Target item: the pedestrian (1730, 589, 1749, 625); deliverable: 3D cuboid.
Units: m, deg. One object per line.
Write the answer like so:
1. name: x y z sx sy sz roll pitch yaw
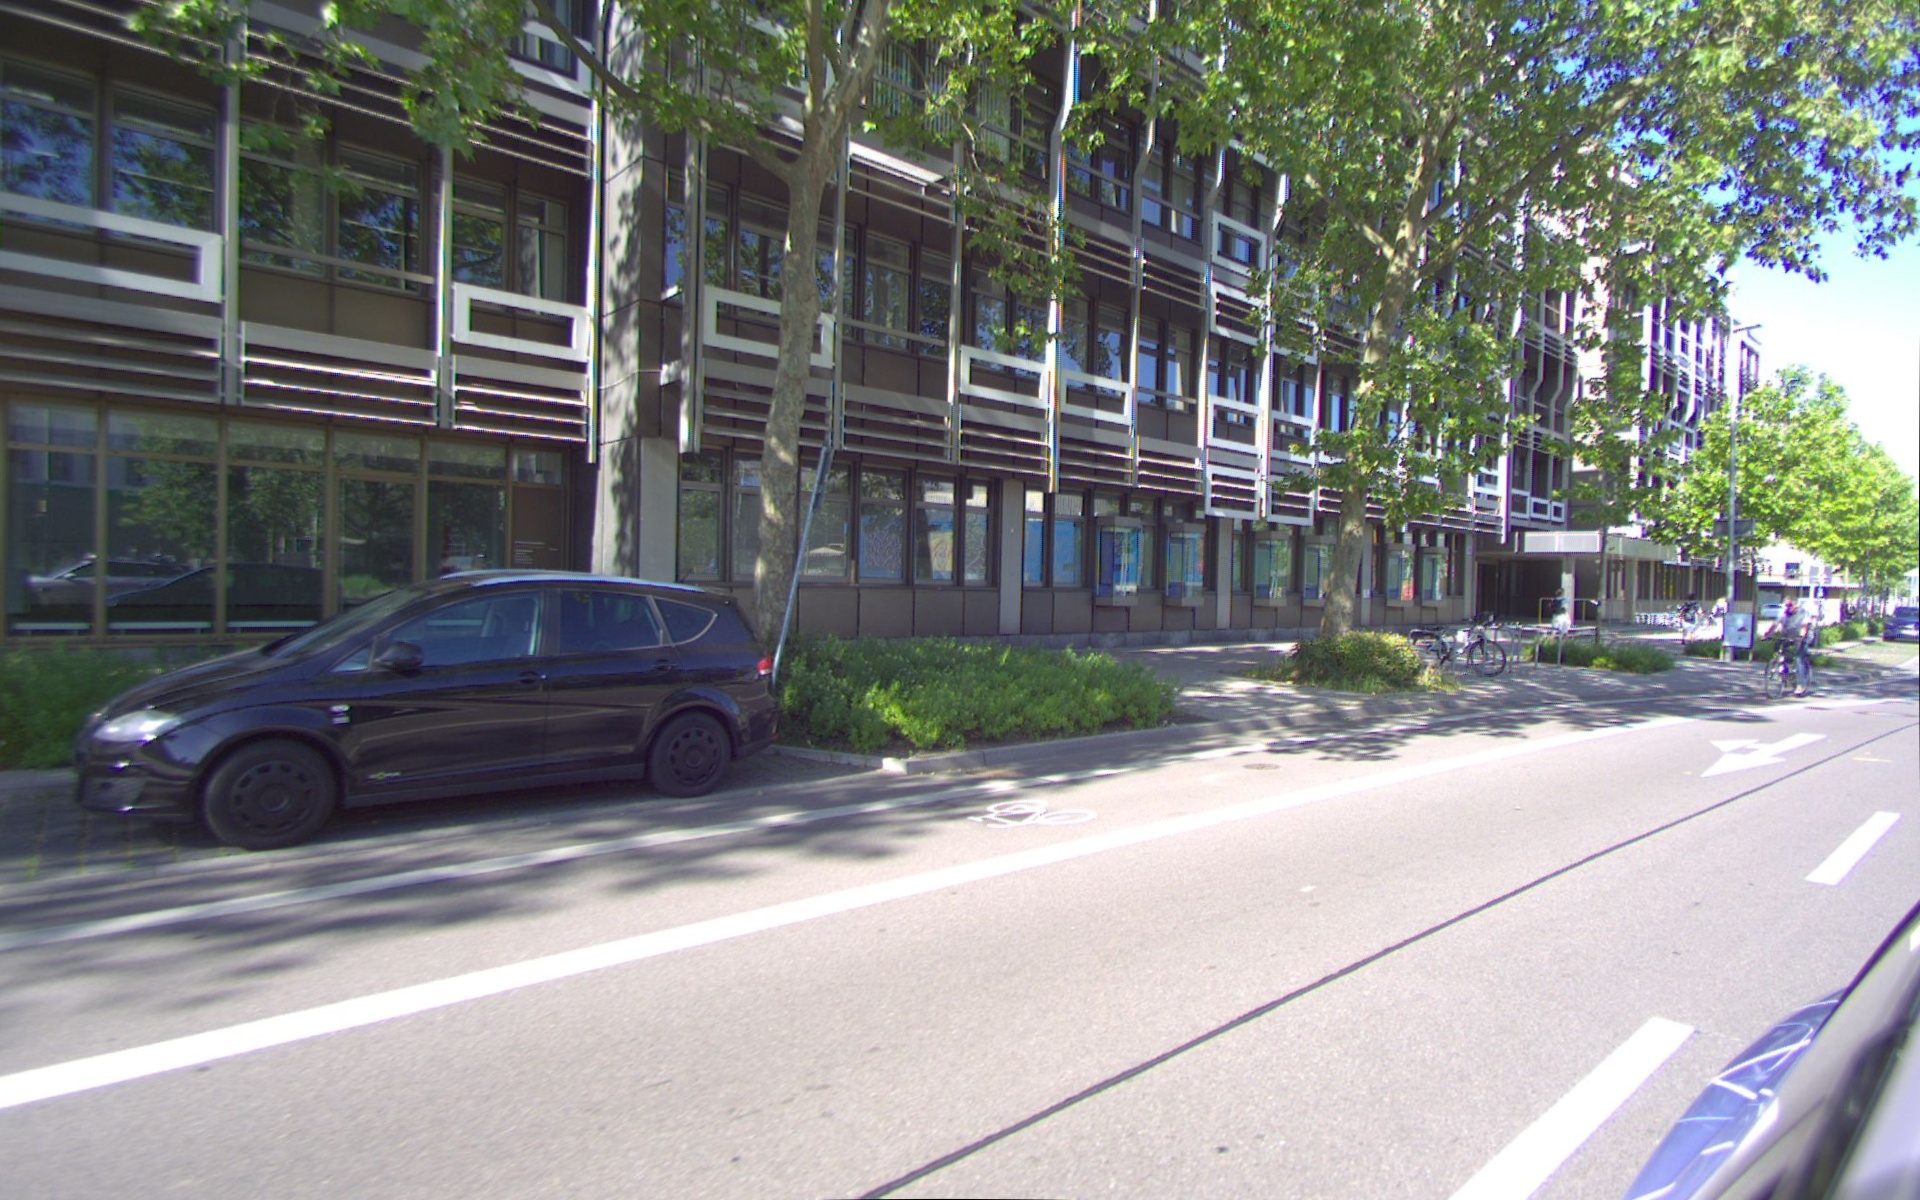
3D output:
1. pedestrian: 36.185 0.335 46.983 0.662 1.642 0.512 1 3 -41

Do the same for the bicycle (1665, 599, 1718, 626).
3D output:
1. bicycle: 33.592 0.568 46.506 0.419 1.111 1.863 1 3 -39

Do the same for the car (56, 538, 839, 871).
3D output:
1. car: -3.276 0.501 7.179 4.552 1.663 1.709 1 3 -39

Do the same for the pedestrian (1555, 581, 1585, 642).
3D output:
1. pedestrian: 17.561 0.328 29.122 0.760 1.722 0.511 1 0 -41

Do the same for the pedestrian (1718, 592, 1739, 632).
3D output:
1. pedestrian: 29.366 0.447 38.665 0.723 1.493 0.512 1 0 -41

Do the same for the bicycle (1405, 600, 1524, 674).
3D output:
1. bicycle: 9.709 0.680 19.551 0.569 1.252 1.940 1 2 -43

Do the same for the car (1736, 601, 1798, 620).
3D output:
1. car: 75.320 0.964 94.542 4.378 1.563 1.831 2 1 34

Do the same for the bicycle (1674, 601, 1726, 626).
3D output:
1. bicycle: 34.669 0.619 47.448 0.419 1.023 1.863 1 3 -39

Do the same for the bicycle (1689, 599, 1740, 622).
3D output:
1. bicycle: 35.863 0.478 48.110 0.419 0.950 1.863 1 3 -39

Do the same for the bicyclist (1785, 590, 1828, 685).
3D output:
1. bicyclist: 14.881 0.643 17.790 0.513 1.621 0.528 2 1 45

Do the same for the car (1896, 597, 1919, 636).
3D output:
1. car: 44.239 0.774 46.215 4.767 1.677 1.852 0 3 -44

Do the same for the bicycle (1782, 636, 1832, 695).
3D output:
1. bicycle: 14.860 1.114 17.730 0.498 0.917 2.161 -1 -1 44

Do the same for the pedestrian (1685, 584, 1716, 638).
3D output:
1. pedestrian: 24.341 0.346 33.275 0.789 1.749 0.648 1 0 -41
